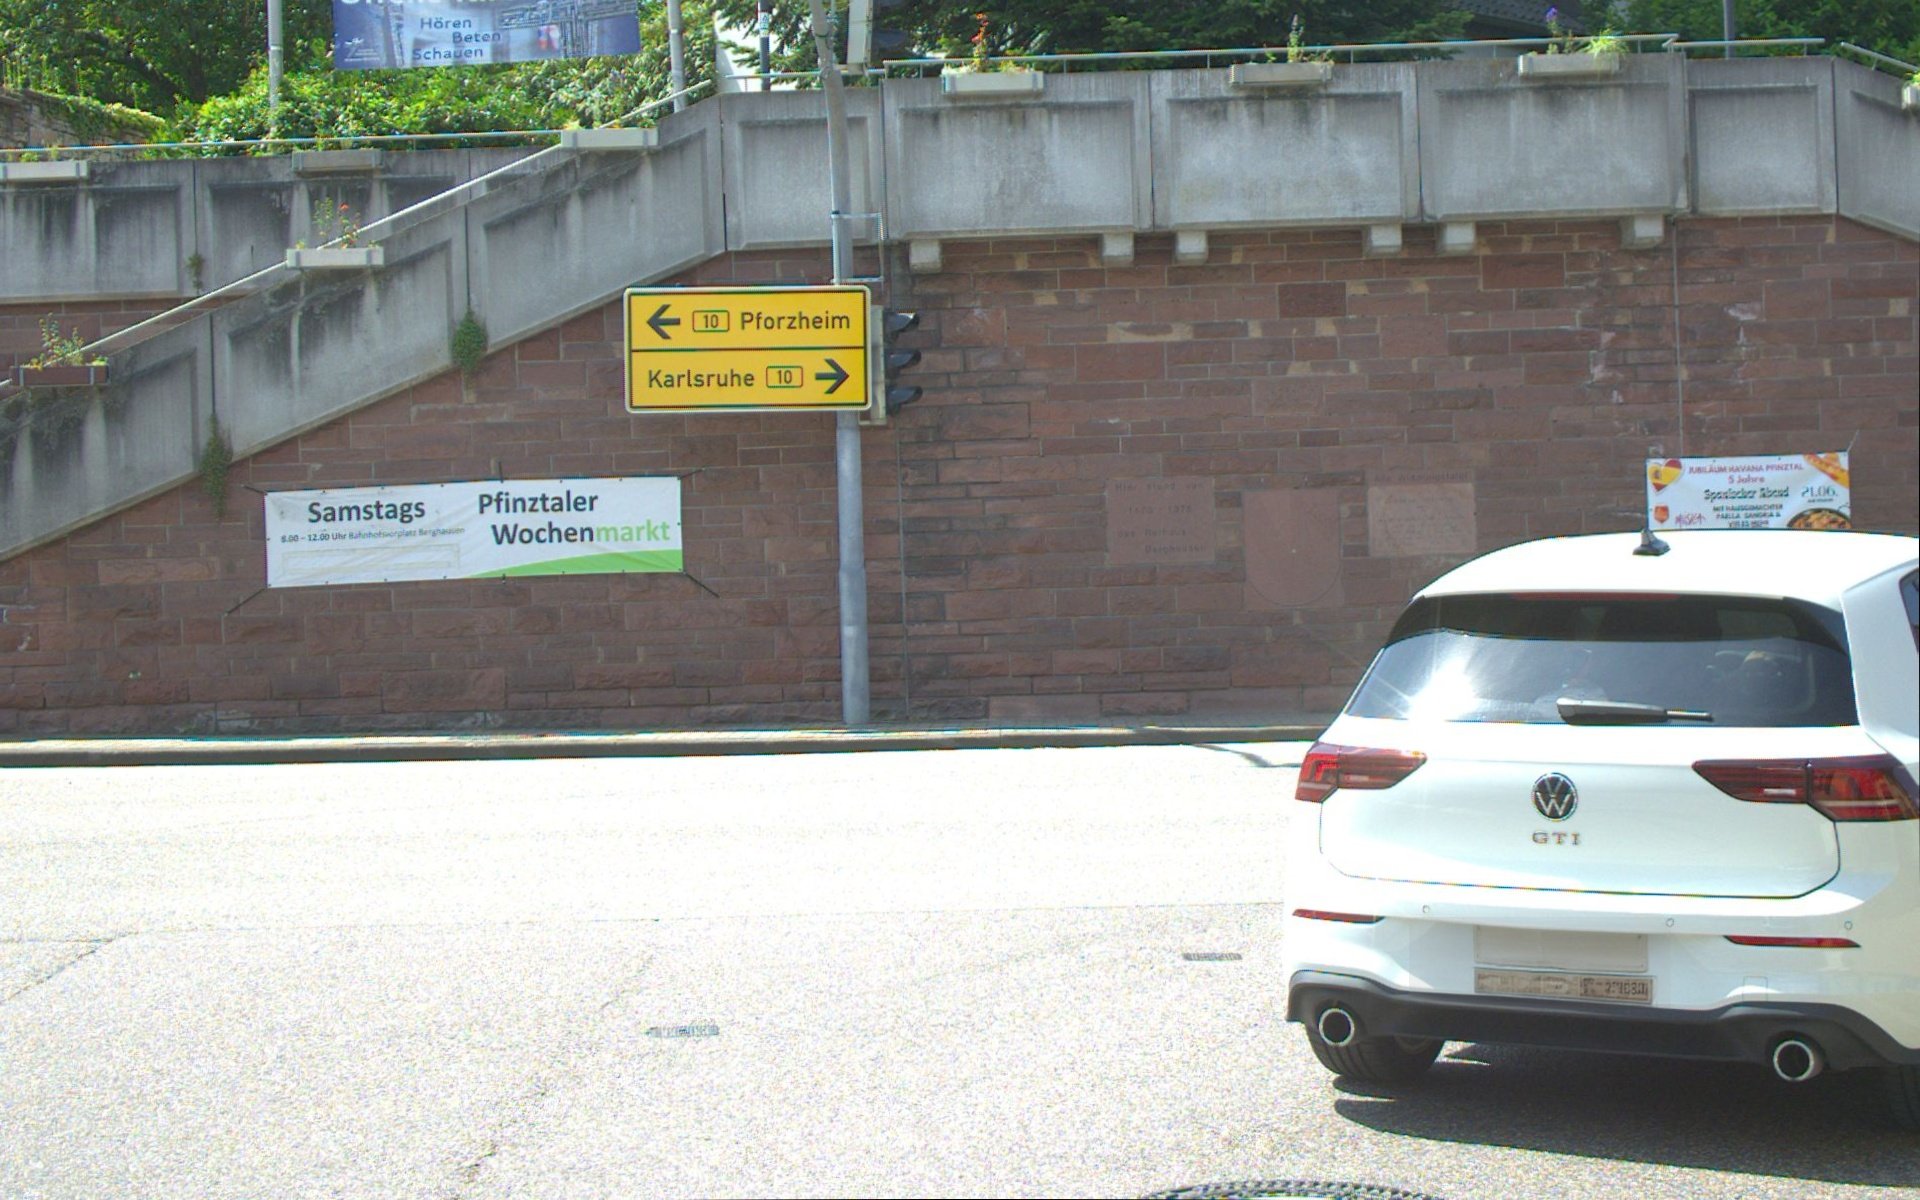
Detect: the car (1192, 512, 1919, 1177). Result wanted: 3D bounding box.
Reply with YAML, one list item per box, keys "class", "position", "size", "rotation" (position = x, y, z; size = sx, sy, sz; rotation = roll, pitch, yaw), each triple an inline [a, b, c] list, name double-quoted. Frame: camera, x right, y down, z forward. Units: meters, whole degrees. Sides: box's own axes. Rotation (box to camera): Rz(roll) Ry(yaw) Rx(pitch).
- class: "car"
  position: [2.311, 0.506, 9.598]
  size: [1.785, 1.453, 3.857]
  rotation: [-1, 1, 30]
